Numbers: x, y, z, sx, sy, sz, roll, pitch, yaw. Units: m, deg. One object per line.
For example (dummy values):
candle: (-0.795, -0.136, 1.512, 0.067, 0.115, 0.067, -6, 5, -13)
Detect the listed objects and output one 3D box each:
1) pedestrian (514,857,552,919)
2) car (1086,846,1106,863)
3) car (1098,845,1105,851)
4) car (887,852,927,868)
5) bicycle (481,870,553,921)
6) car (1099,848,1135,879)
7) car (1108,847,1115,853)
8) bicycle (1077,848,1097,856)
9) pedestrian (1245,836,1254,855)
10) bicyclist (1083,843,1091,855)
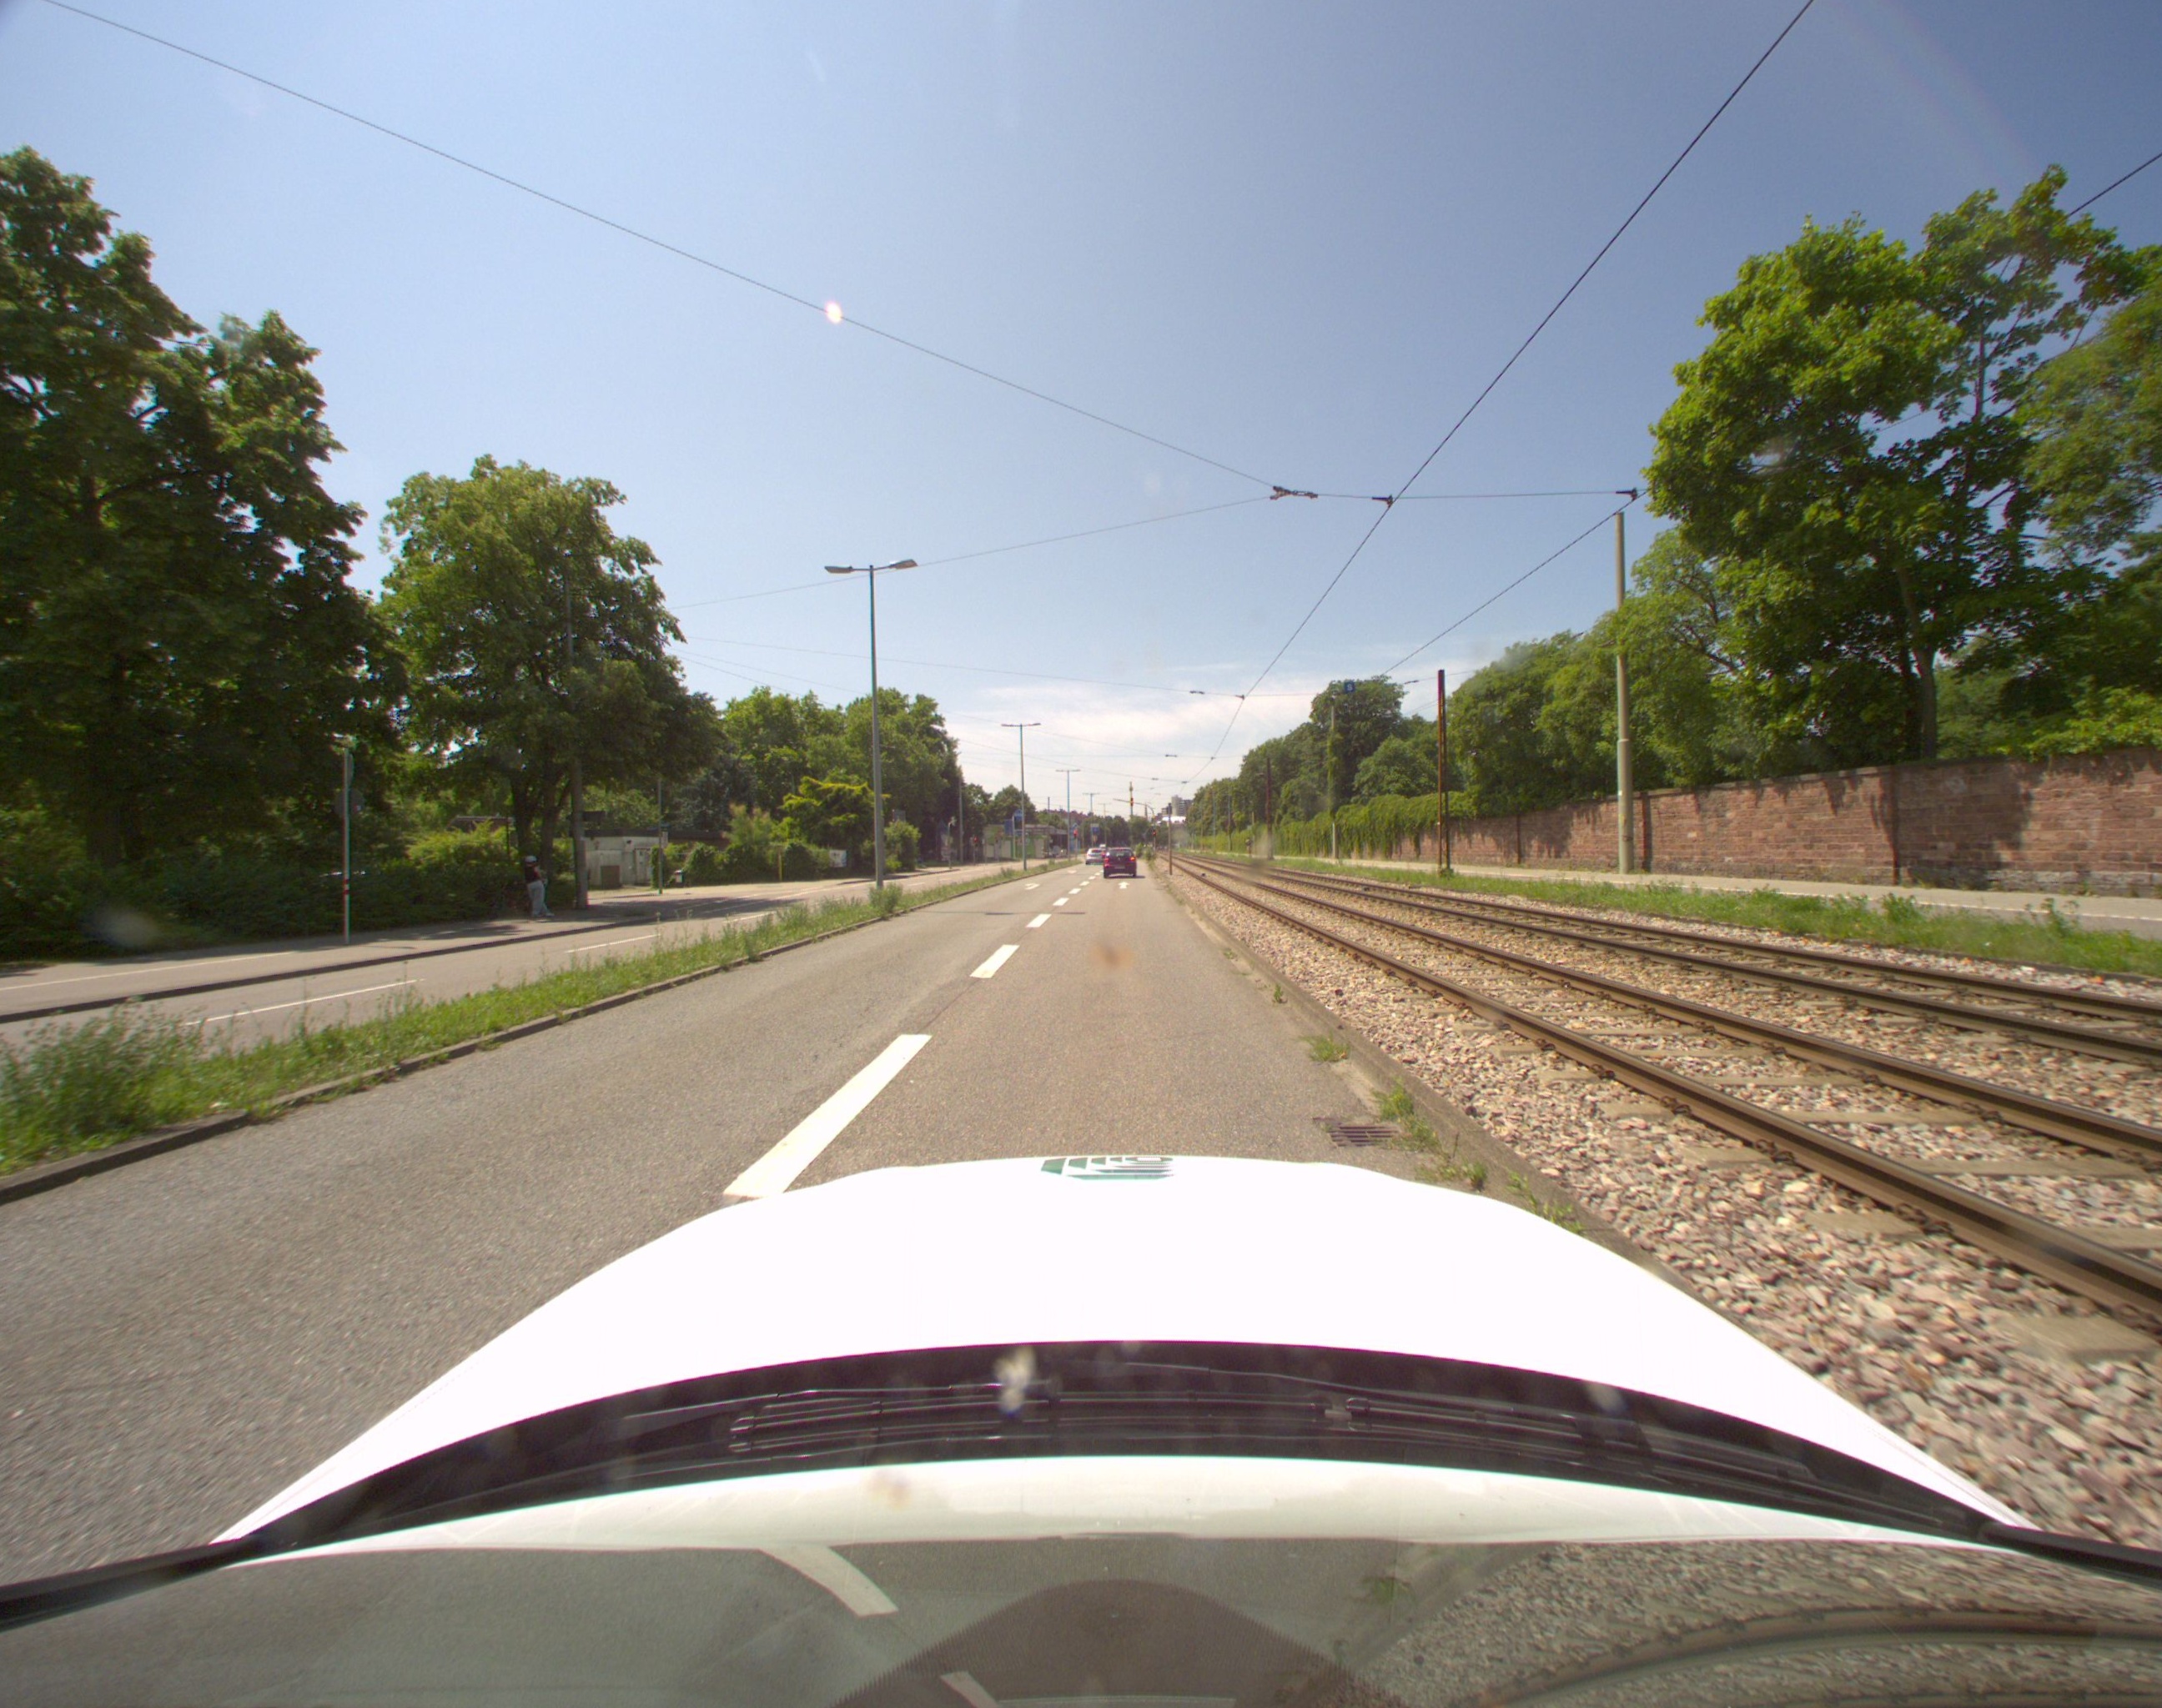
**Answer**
pedestrian: (-15.371, 0.945, 22.845, 0.545, 1.718, 0.606, -2, 0, 16)
car: (1.294, 0.077, 73.680, 1.698, 1.480, 3.715, 0, 0, -1)
car: (5.795, -1.668, 232.372, 1.988, 1.596, 3.998, 0, 0, -1)
car: (-19.358, 0.653, 90.778, 3.958, 1.579, 1.779, -2, 0, 14)
bicycle: (-15.927, 1.141, 23.058, 0.641, 1.327, 1.580, -2, 0, 16)
car: (1.802, 0.428, 40.732, 1.696, 1.477, 3.719, 0, 1, 2)
car: (9.759, -1.306, 260.729, 1.740, 1.686, 4.007, -2, 0, 6)
bicycle: (0.812, -0.241, 111.326, 2.548, 1.038, 1.085, 0, -1, -8)
pedestrian: (15.612, -0.826, 75.362, 0.659, 1.726, 0.817, -2, 0, 3)
bicyclist: (0.757, -0.652, 111.348, 0.943, 1.593, 1.085, 0, -1, -7)
